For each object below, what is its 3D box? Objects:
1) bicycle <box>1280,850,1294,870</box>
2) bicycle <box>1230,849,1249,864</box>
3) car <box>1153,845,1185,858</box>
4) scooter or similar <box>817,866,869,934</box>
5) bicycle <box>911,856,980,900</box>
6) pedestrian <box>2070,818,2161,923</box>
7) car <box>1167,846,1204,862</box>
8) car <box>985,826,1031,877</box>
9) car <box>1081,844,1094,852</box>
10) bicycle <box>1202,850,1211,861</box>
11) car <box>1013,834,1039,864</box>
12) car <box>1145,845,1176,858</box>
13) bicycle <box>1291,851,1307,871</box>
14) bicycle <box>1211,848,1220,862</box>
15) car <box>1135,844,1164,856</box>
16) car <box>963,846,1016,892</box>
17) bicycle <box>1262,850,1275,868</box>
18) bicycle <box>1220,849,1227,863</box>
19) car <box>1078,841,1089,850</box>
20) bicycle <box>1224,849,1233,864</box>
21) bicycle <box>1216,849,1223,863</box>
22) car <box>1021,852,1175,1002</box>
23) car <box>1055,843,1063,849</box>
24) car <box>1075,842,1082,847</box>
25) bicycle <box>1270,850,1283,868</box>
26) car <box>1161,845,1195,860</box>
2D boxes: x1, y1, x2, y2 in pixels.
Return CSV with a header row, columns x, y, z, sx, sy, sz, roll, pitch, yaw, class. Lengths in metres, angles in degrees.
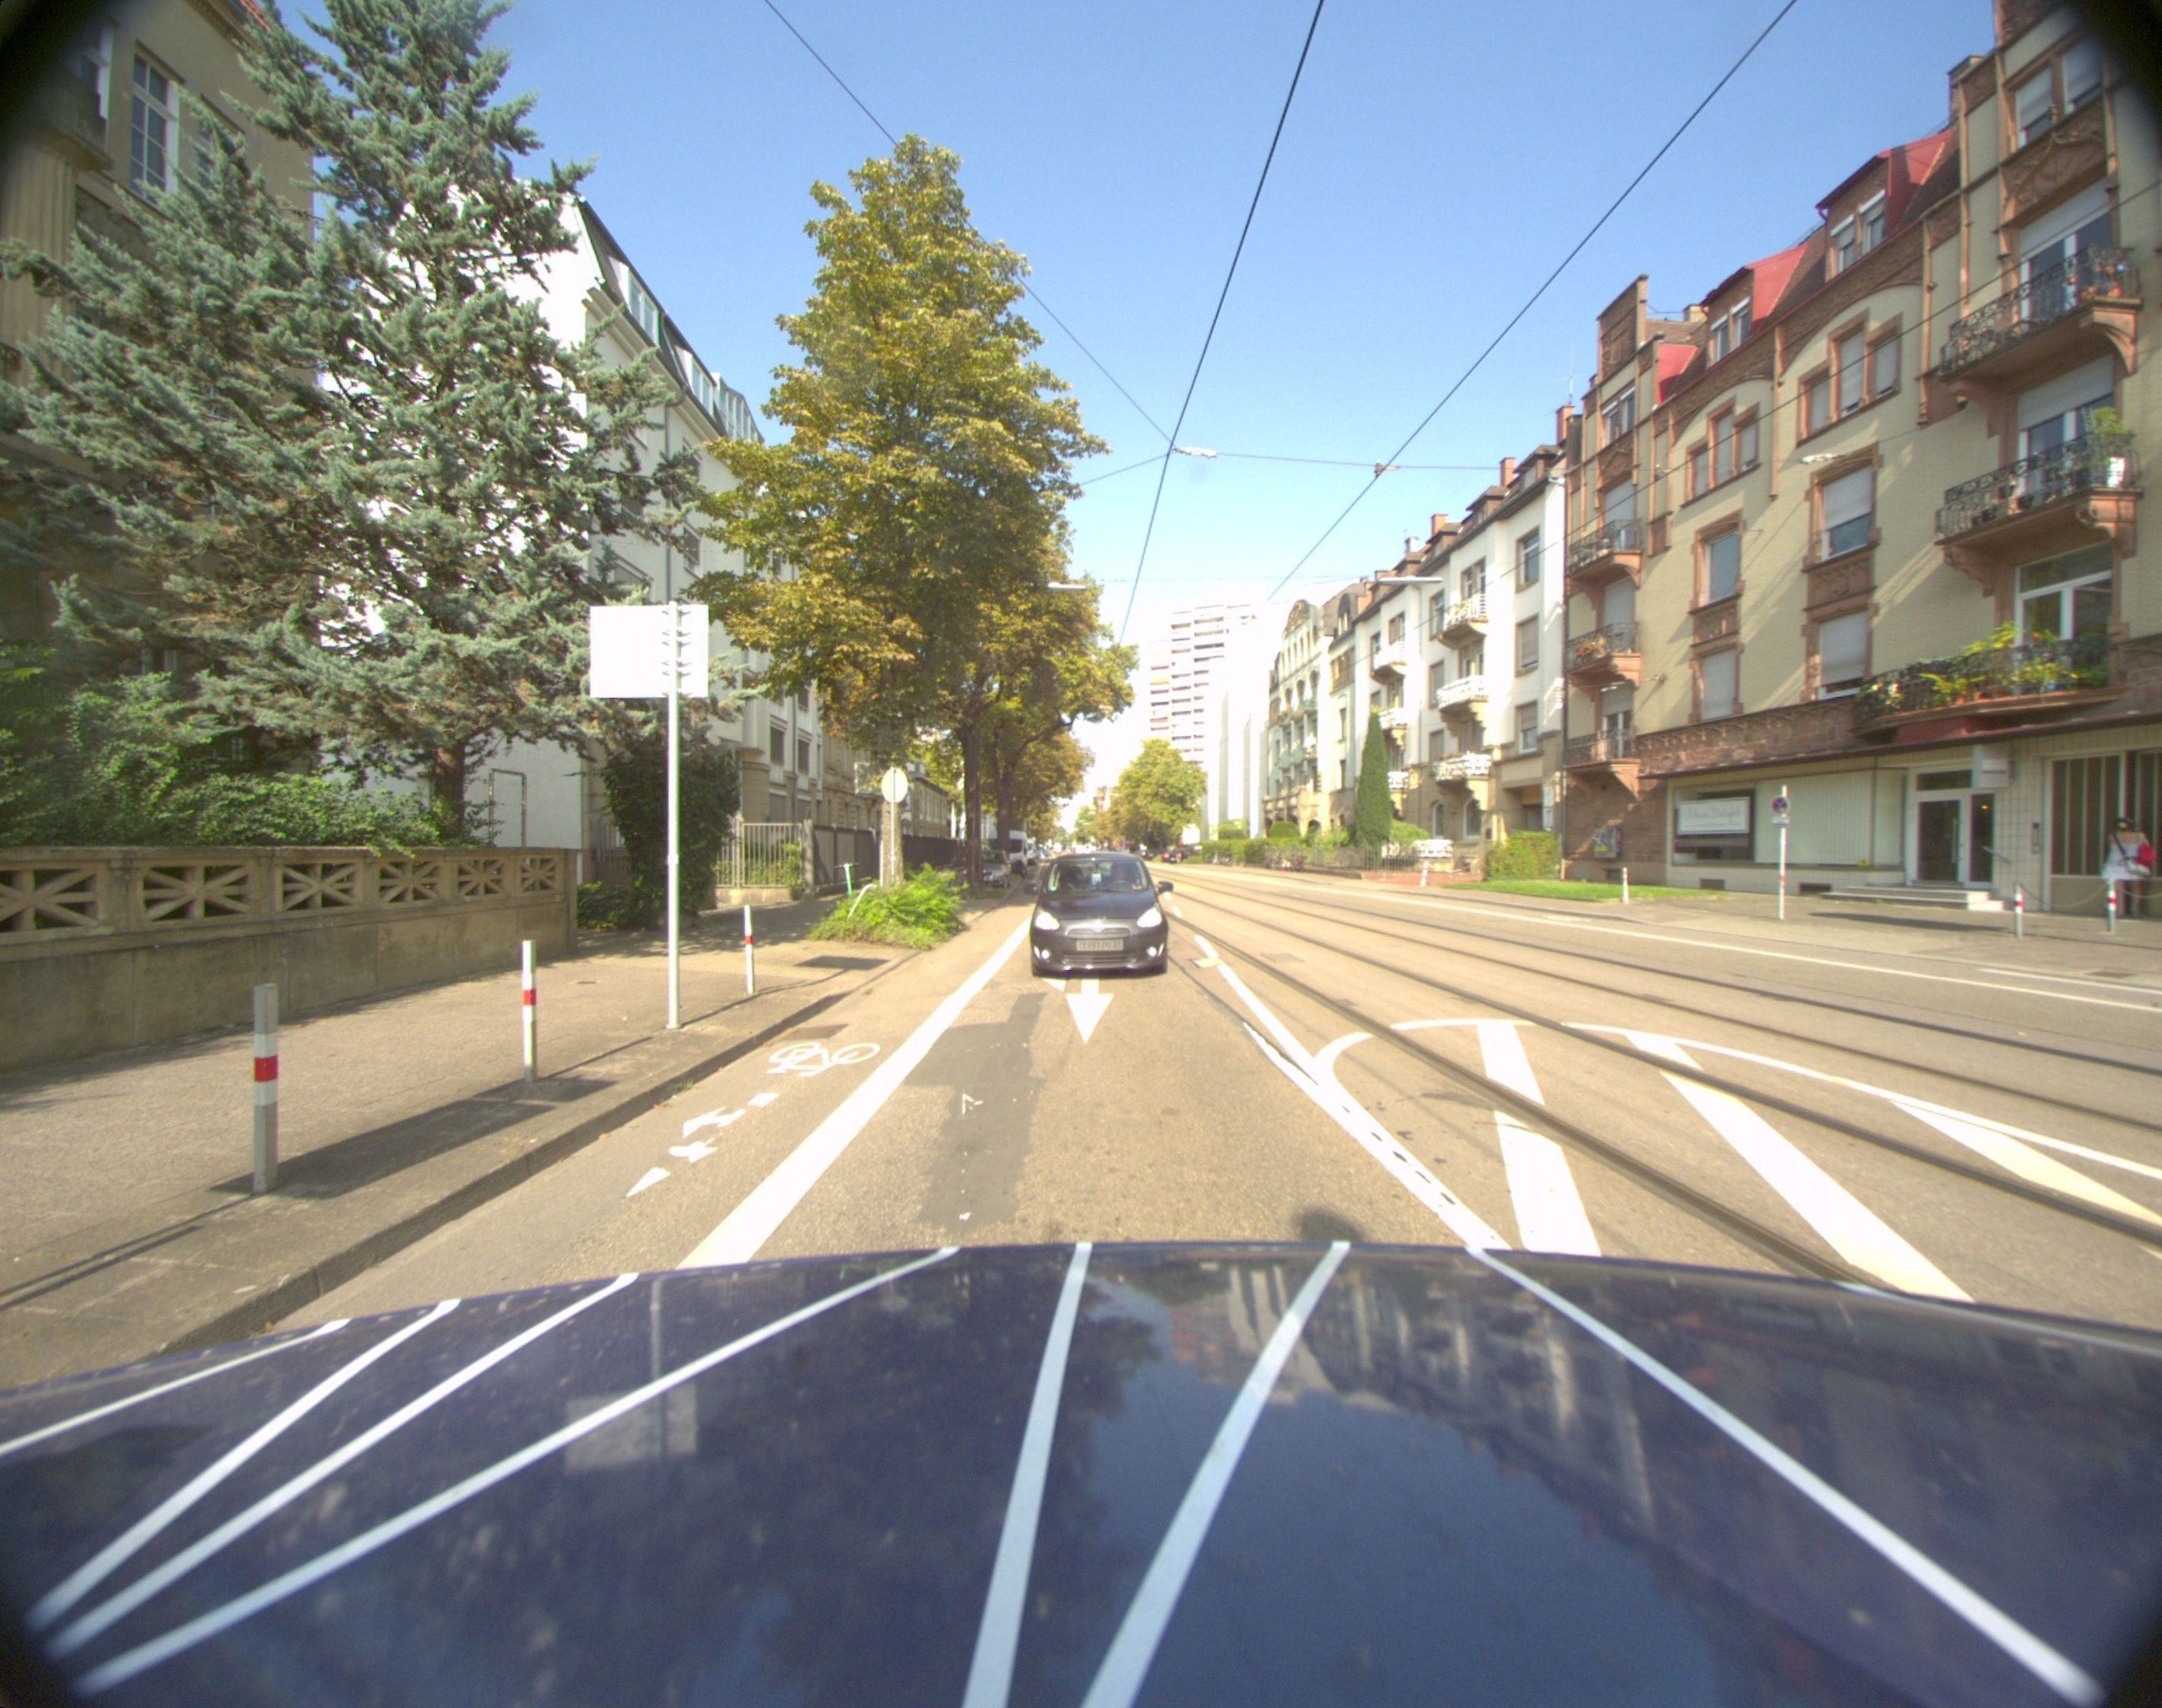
x,y,z,sx,sy,sz,roll,pitch,yaw,class
11.672,0.342,43.003,0.371,1.081,1.354,0,1,-3,bicycle
11.791,0.169,56.549,1.397,1.081,0.425,0,1,-20,bicycle
10.277,-0.286,88.629,1.767,1.518,4.008,1,1,39,car
-4.494,0.847,14.410,0.559,1.190,1.034,3,2,3,scooter or similar
-3.839,0.693,21.626,1.846,1.160,0.503,2,5,-42,bicycle
18.952,0.290,13.863,0.774,1.849,0.832,1,2,26,pedestrian
10.240,-0.069,74.529,1.767,1.518,4.008,1,1,39,car
-3.832,-0.166,41.046,2.051,2.484,6.226,1,1,-2,car
1.229,-1.126,142.152,1.878,1.446,4.542,2,1,-5,car
10.843,0.142,65.774,0.425,0.972,1.769,0,1,-3,bicycle
-4.856,-0.457,67.997,1.999,2.526,5.866,2,1,-1,car
9.605,-0.350,91.459,1.767,1.518,4.008,1,1,39,car
11.823,0.373,41.233,0.371,1.081,1.487,0,1,-3,bicycle
11.081,0.092,62.447,0.425,1.081,1.676,0,1,0,bicycle
9.048,-0.502,100.291,1.767,1.518,4.008,1,1,39,car
-3.445,0.519,29.330,1.611,1.515,4.355,3,1,-2,car
11.730,0.286,47.535,0.371,1.081,1.354,0,1,-3,bicycle
11.210,0.144,59.631,0.425,1.081,1.677,0,1,7,bicycle
0.614,-1.890,173.976,1.999,2.002,4.856,0,1,-5,car
11.135,0.187,57.532,0.425,1.081,1.676,0,1,2,bicycle
11.030,0.122,60.435,0.425,1.081,1.677,0,1,7,bicycle
0.111,0.772,10.328,1.611,1.515,4.355,-1,1,-2,car
-6.620,-2.412,227.035,1.999,1.572,4.156,0,1,-5,car
-0.826,-2.768,228.170,1.701,1.395,4.644,-1,1,-3,car
11.743,0.300,45.765,0.371,1.081,1.354,0,1,-3,bicycle
10.352,-0.193,81.165,1.767,1.518,4.008,1,1,39,car
